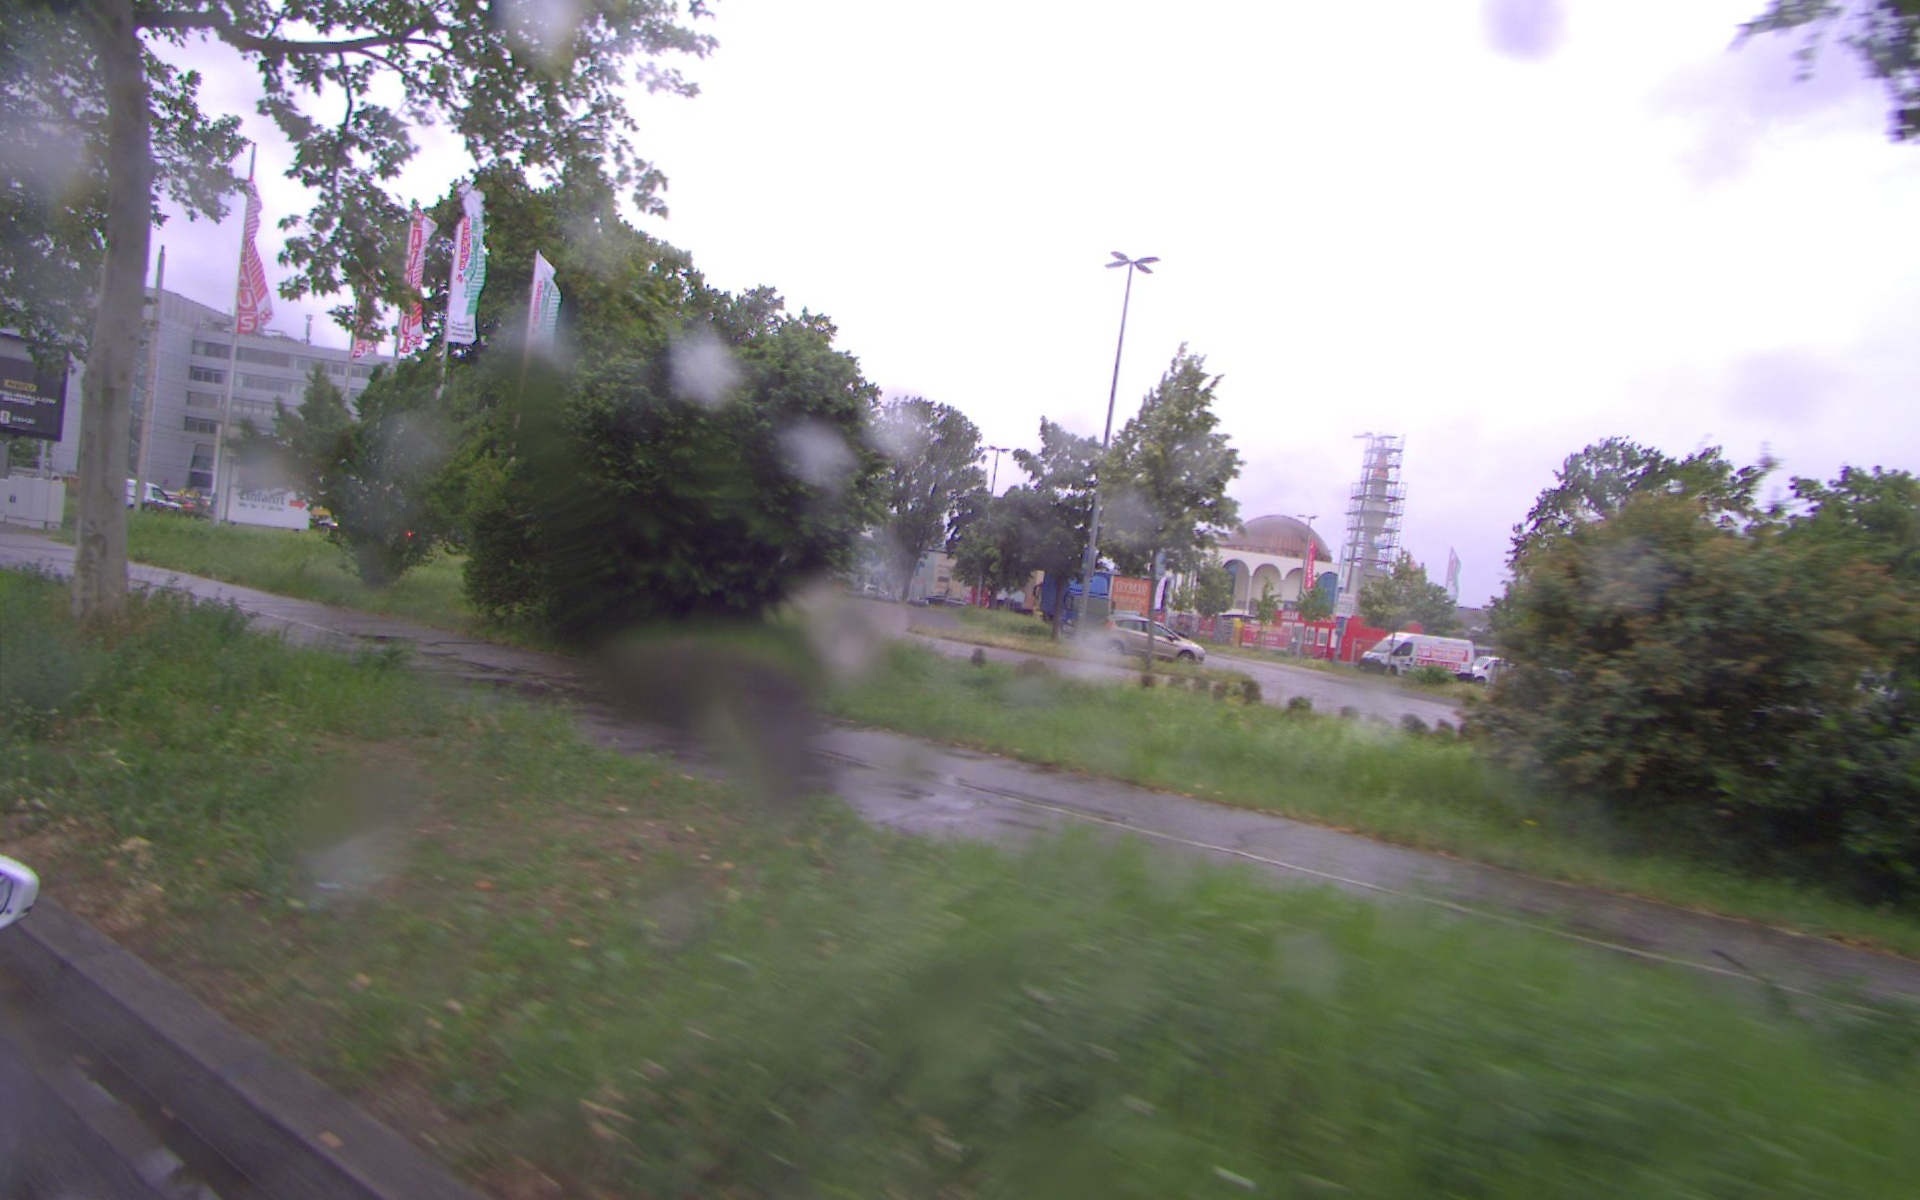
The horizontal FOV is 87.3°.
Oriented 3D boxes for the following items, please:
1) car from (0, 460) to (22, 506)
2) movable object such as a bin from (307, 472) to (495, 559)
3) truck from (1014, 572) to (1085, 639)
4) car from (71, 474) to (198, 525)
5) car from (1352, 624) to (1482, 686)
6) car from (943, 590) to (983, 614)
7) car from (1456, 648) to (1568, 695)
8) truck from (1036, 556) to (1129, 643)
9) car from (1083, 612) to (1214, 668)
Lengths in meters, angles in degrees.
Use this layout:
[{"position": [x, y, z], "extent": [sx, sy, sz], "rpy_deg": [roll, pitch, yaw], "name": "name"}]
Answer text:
[{"position": [-48.588, -5.892, 48.970], "extent": [1.769, 2.220, 4.380], "rpy_deg": [7, 2, -3], "name": "car"}, {"position": [-59.045, -8.819, 106.938], "extent": [14.696, 6.356, 8.270], "rpy_deg": [7, -1, -2], "name": "movable object such as a bin"}, {"position": [5.836, 0.359, 67.009], "extent": [2.950, 3.856, 8.951], "rpy_deg": [7, 0, -4], "name": "truck"}, {"position": [-36.677, -4.428, 44.860], "extent": [1.768, 1.556, 4.387], "rpy_deg": [7, 0, 3], "name": "car"}, {"position": [22.998, 2.764, 50.709], "extent": [5.572, 2.362, 1.999], "rpy_deg": [7, -1, -6], "name": "car"}, {"position": [0.347, 0.193, 108.152], "extent": [4.085, 2.037, 2.001], "rpy_deg": [7, -1, 1], "name": "car"}, {"position": [34.032, 4.403, 62.187], "extent": [5.563, 2.168, 2.002], "rpy_deg": [7, -1, 5], "name": "car"}, {"position": [6.258, 0.008, 53.011], "extent": [2.950, 3.857, 8.283], "rpy_deg": [7, 0, -4], "name": "truck"}, {"position": [6.427, 1.366, 34.596], "extent": [3.928, 1.380, 2.000], "rpy_deg": [7, -2, -3], "name": "car"}]
